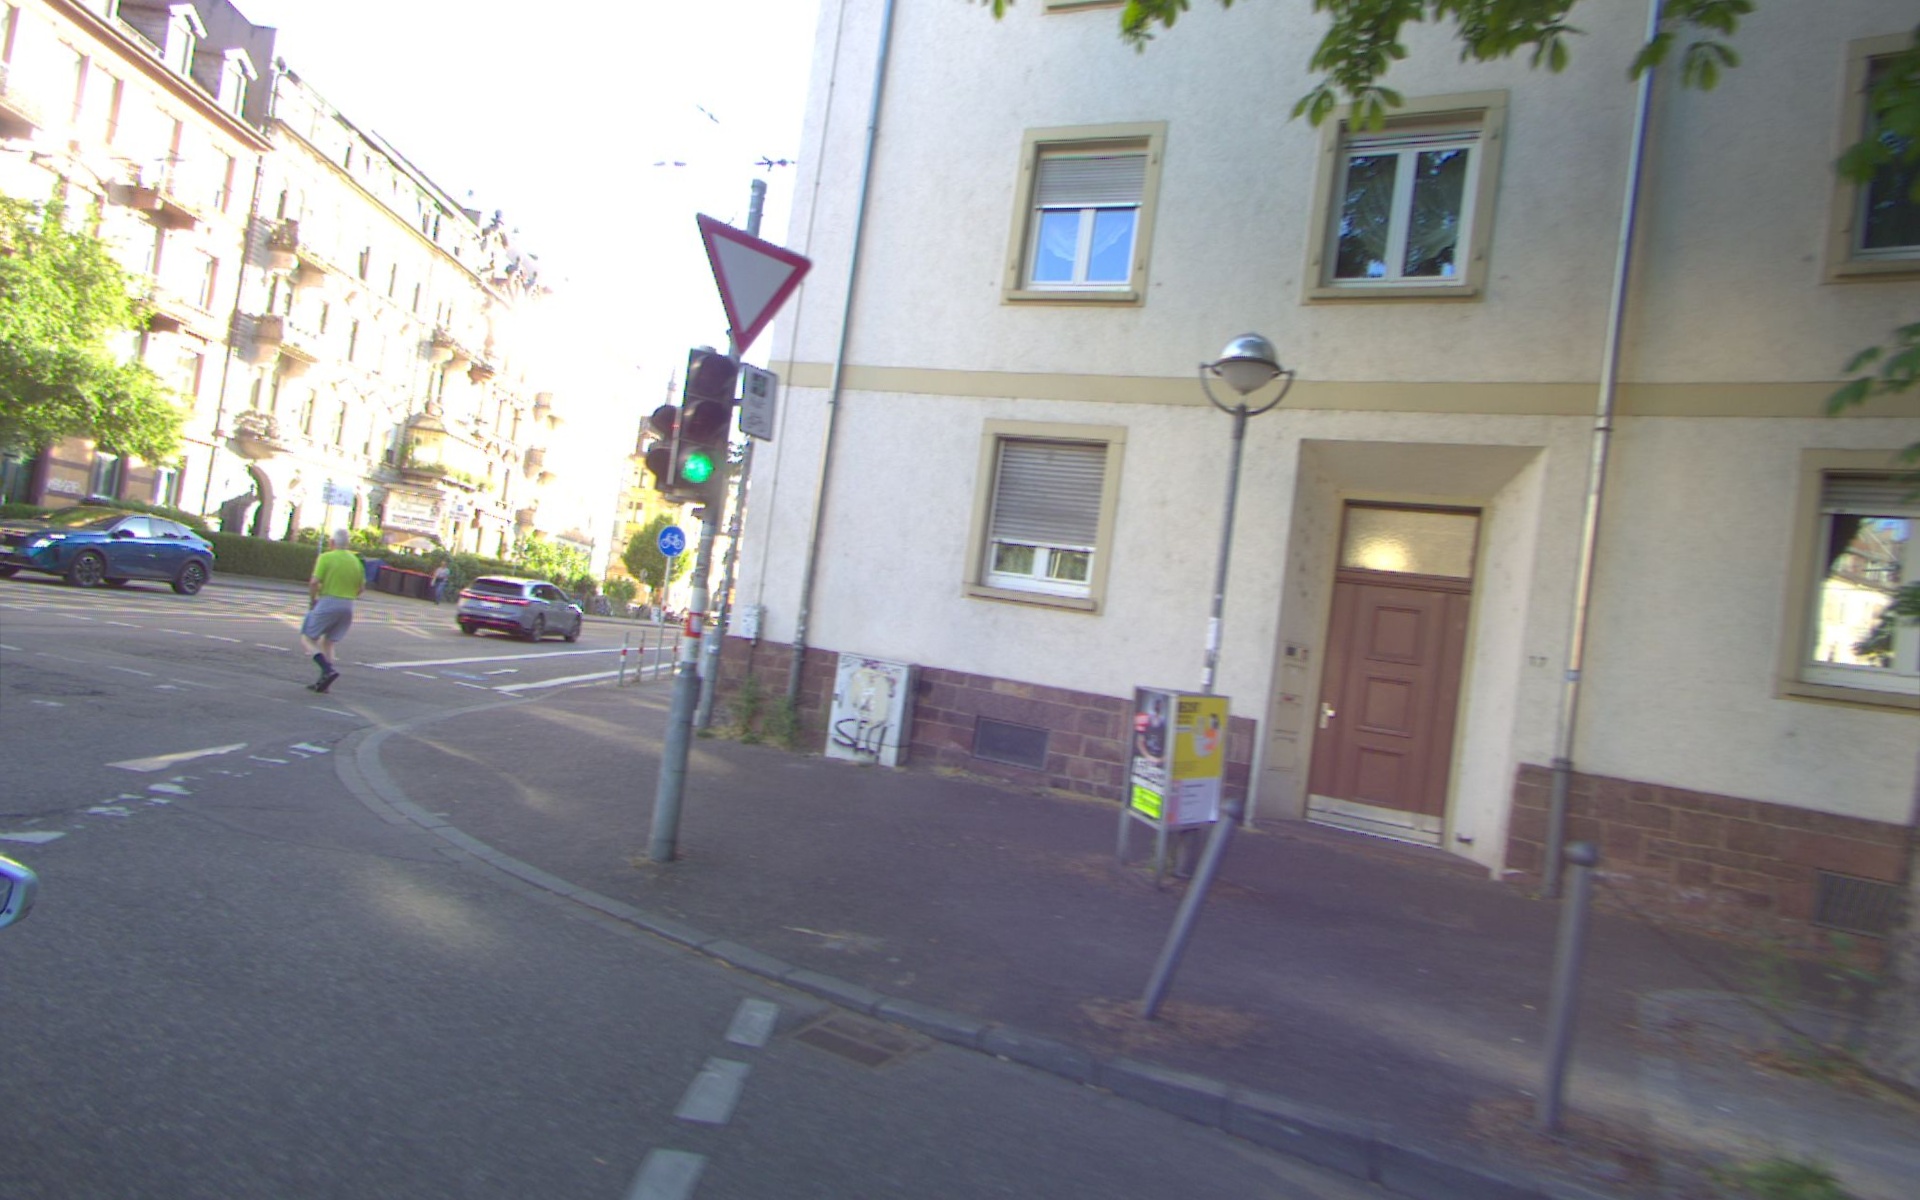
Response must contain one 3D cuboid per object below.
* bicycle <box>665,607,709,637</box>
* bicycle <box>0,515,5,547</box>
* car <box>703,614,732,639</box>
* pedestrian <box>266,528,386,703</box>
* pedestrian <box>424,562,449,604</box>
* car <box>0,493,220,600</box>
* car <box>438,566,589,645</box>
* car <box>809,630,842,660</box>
[{"bbox_3d":[-22.484,1.811,82.882,3.191,2.040,0.931,9,0,-6],"label":"bicycle"},{"bbox_3d":[-23.316,-1.570,23.605,0.435,1.050,1.235,9,-2,4],"label":"bicycle"},{"bbox_3d":[-17.939,1.987,74.460,1.510,1.541,3.476,9,-3,-7],"label":"car"},{"bbox_3d":[-6.949,0.163,11.022,0.876,1.745,0.643,9,-3,44],"label":"pedestrian"},{"bbox_3d":[-21.545,-0.692,41.399,0.516,1.659,0.496,8,-1,10],"label":"pedestrian"},{"bbox_3d":[-18.049,-1.063,20.901,1.913,1.668,4.414,8,-3,0],"label":"car"},{"bbox_3d":[-11.390,0.223,26.056,1.941,1.603,4.477,8,-3,-3],"label":"car"},{"bbox_3d":[-7.757,2.609,58.195,1.526,1.455,3.838,9,-3,-4],"label":"car"}]
